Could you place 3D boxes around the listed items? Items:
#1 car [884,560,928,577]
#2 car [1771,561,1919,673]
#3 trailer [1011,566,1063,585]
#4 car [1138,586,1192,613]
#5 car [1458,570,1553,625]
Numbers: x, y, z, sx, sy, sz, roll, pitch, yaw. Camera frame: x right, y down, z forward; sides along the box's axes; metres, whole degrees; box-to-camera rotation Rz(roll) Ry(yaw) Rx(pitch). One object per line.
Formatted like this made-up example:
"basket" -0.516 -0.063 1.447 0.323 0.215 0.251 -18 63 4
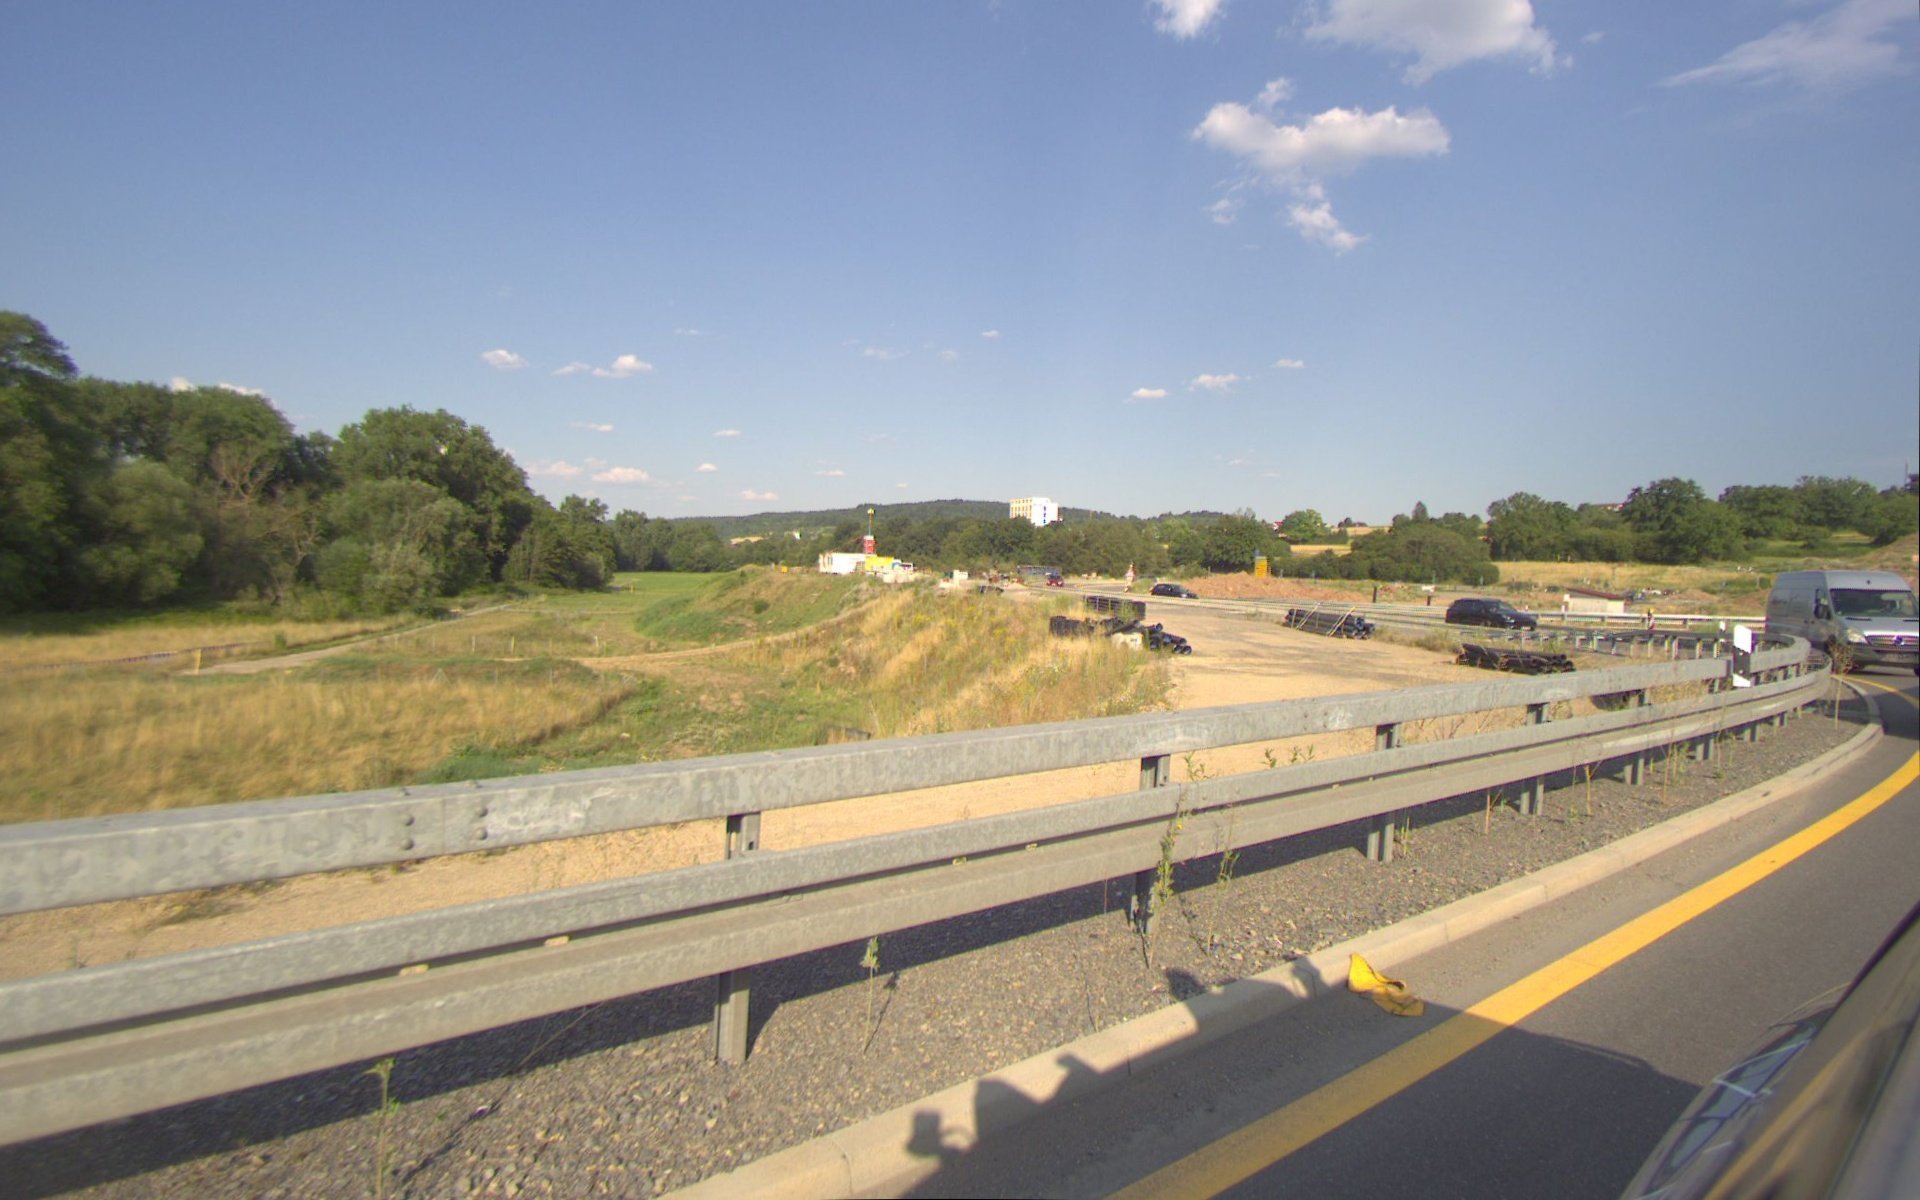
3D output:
"car" -7.285 -4.258 136.411 5.210 2.104 2.493 1 3 -26
"car" 23.153 0.312 26.162 1.897 2.531 5.751 3 3 24
"trailer" 10.266 -3.260 134.101 3.004 2.443 7.116 3 3 43
"car" 15.342 -0.070 76.047 1.604 1.808 4.134 0 3 -29
"car" 26.495 -0.156 49.309 1.838 2.432 4.010 1 3 -11
